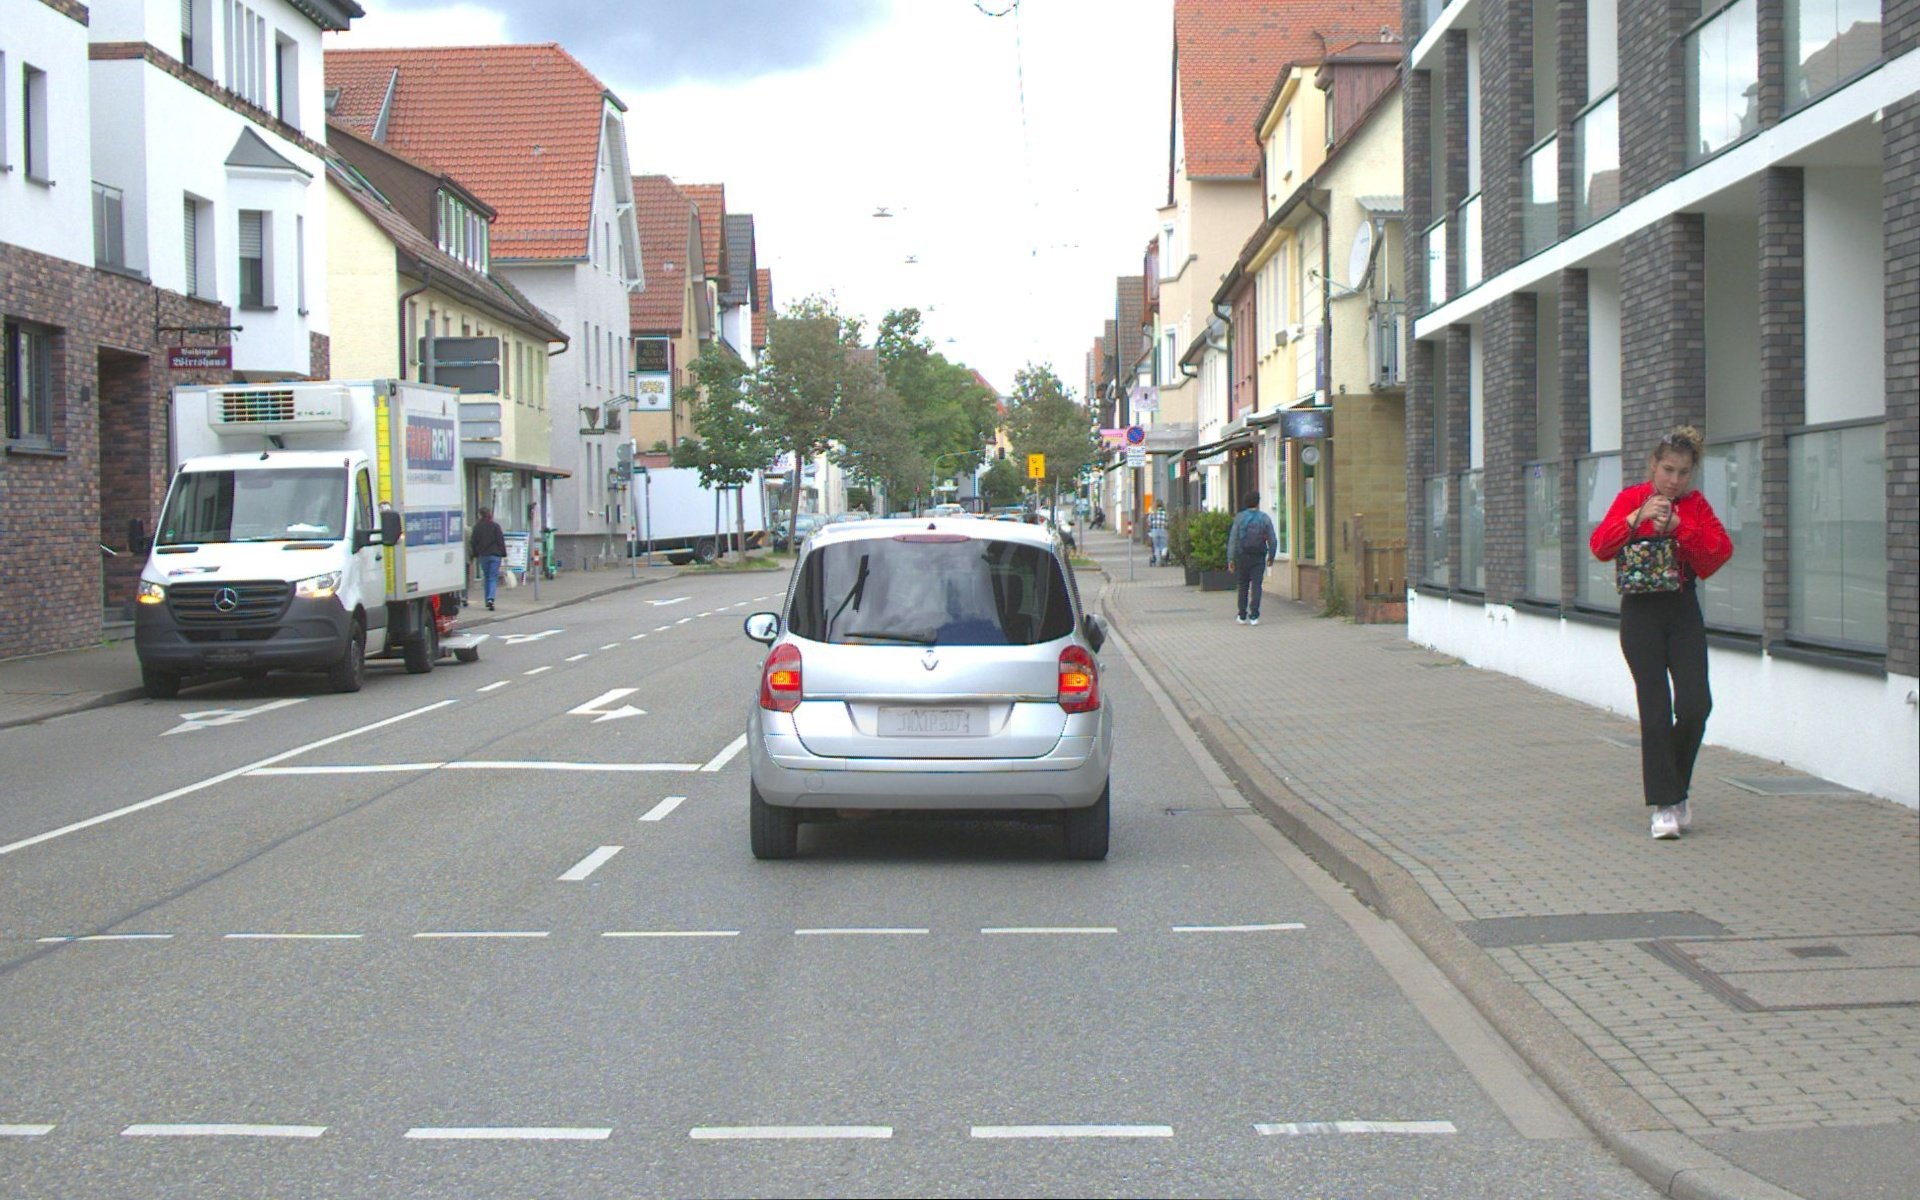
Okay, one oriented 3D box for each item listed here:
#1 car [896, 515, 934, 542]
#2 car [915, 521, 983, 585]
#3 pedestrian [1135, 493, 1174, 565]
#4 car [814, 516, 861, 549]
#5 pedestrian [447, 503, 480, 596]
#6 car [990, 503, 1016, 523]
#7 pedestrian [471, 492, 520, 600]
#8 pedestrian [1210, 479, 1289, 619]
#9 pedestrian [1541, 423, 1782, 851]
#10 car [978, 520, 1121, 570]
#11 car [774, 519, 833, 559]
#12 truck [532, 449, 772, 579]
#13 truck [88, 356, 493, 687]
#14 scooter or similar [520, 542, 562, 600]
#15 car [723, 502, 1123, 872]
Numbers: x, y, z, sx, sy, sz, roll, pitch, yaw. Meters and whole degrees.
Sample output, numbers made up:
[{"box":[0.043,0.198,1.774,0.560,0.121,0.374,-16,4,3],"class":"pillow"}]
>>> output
[{"box":[-2.348,-3.719,178.886,1.813,1.349,3.857,-1,1,1],"class":"car"},{"box":[-0.276,-1.242,89.596,1.706,1.573,4.000,1,1,0],"class":"car"},{"box":[4.984,-1.819,88.216,0.889,1.780,0.785,-3,1,1],"class":"pedestrian"},{"box":[-5.286,-2.924,148.515,1.813,1.349,4.000,-1,1,1],"class":"car"},{"box":[-8.209,-0.833,56.879,0.426,1.520,0.553,1,1,1],"class":"pedestrian"},{"box":[3.026,-6.111,241.608,1.813,1.349,4.000,-1,1,1],"class":"car"},{"box":[-7.635,-0.884,56.535,0.662,1.751,0.688,1,1,1],"class":"pedestrian"},{"box":[3.779,-0.672,44.970,0.889,1.780,0.785,-3,1,1],"class":"pedestrian"},{"box":[3.055,0.146,15.046,0.807,1.780,0.861,-3,1,1],"class":"pedestrian"},{"box":[2.545,-1.572,97.792,3.729,1.309,1.521,1,1,-20],"class":"car"},{"box":[-5.547,-2.177,121.934,1.813,1.349,4.000,-1,1,1],"class":"car"},{"box":[-9.416,-2.670,105.401,6.826,3.844,2.604,-2,1,-32],"class":"truck"},{"box":[-6.544,-0.792,34.883,2.435,2.943,8.365,0,1,0],"class":"truck"},{"box":[-9.551,-0.677,78.353,0.575,1.265,2.548,-1,1,1],"class":"scooter or similar"},{"box":[-0.155,0.334,17.011,1.706,1.573,4.000,1,1,0],"class":"car"}]
